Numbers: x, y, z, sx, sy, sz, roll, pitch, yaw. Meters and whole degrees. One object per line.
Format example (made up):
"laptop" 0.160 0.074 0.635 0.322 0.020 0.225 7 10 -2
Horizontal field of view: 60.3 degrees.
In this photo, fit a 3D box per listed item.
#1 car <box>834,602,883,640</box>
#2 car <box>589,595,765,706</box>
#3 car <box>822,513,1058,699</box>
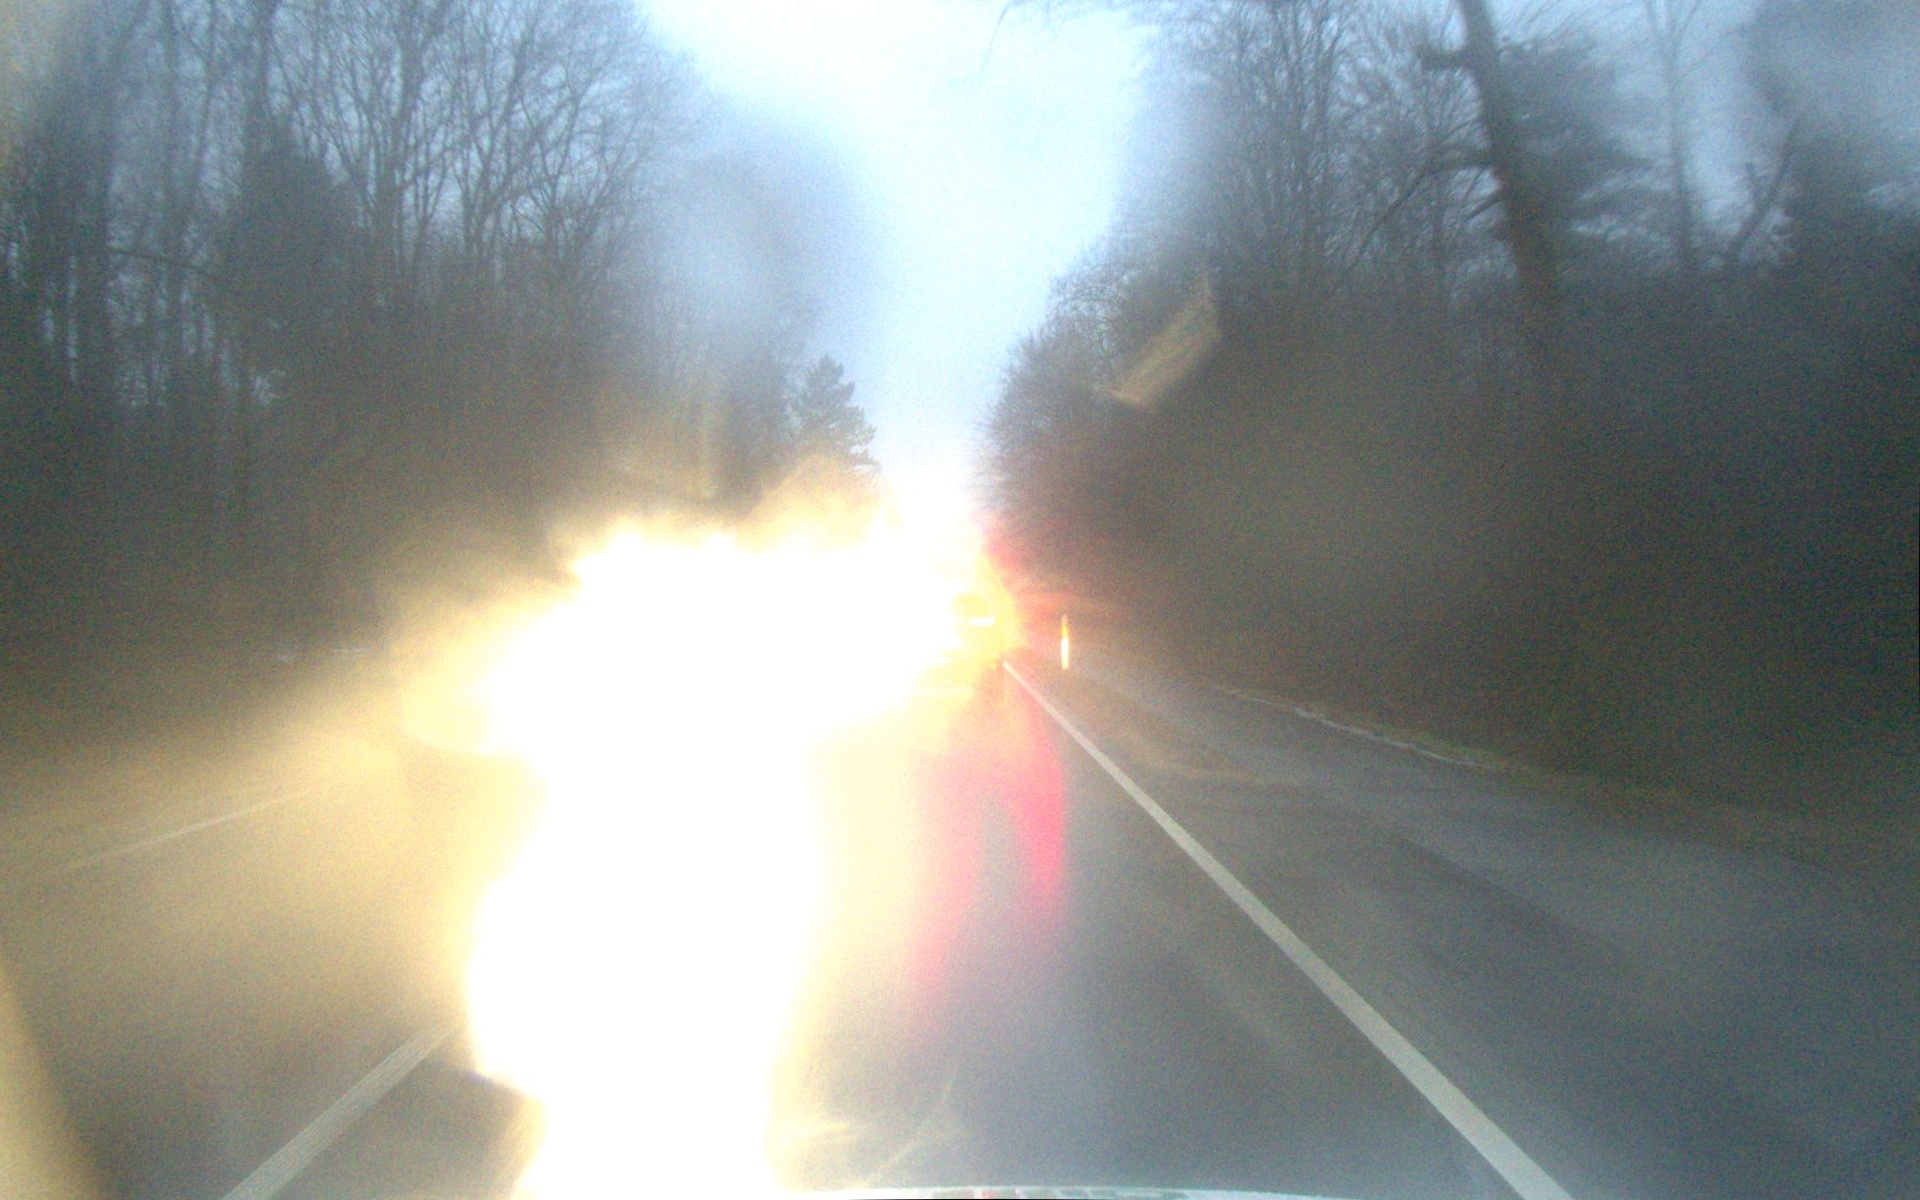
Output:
"car" -4.549 0.934 74.405 2.033 1.644 4.150 -1 0 -2
"car" -3.940 0.650 23.741 1.830 1.447 4.386 0 0 -1
"car" -0.264 0.082 25.417 3.118 2.428 6.636 1 0 0
